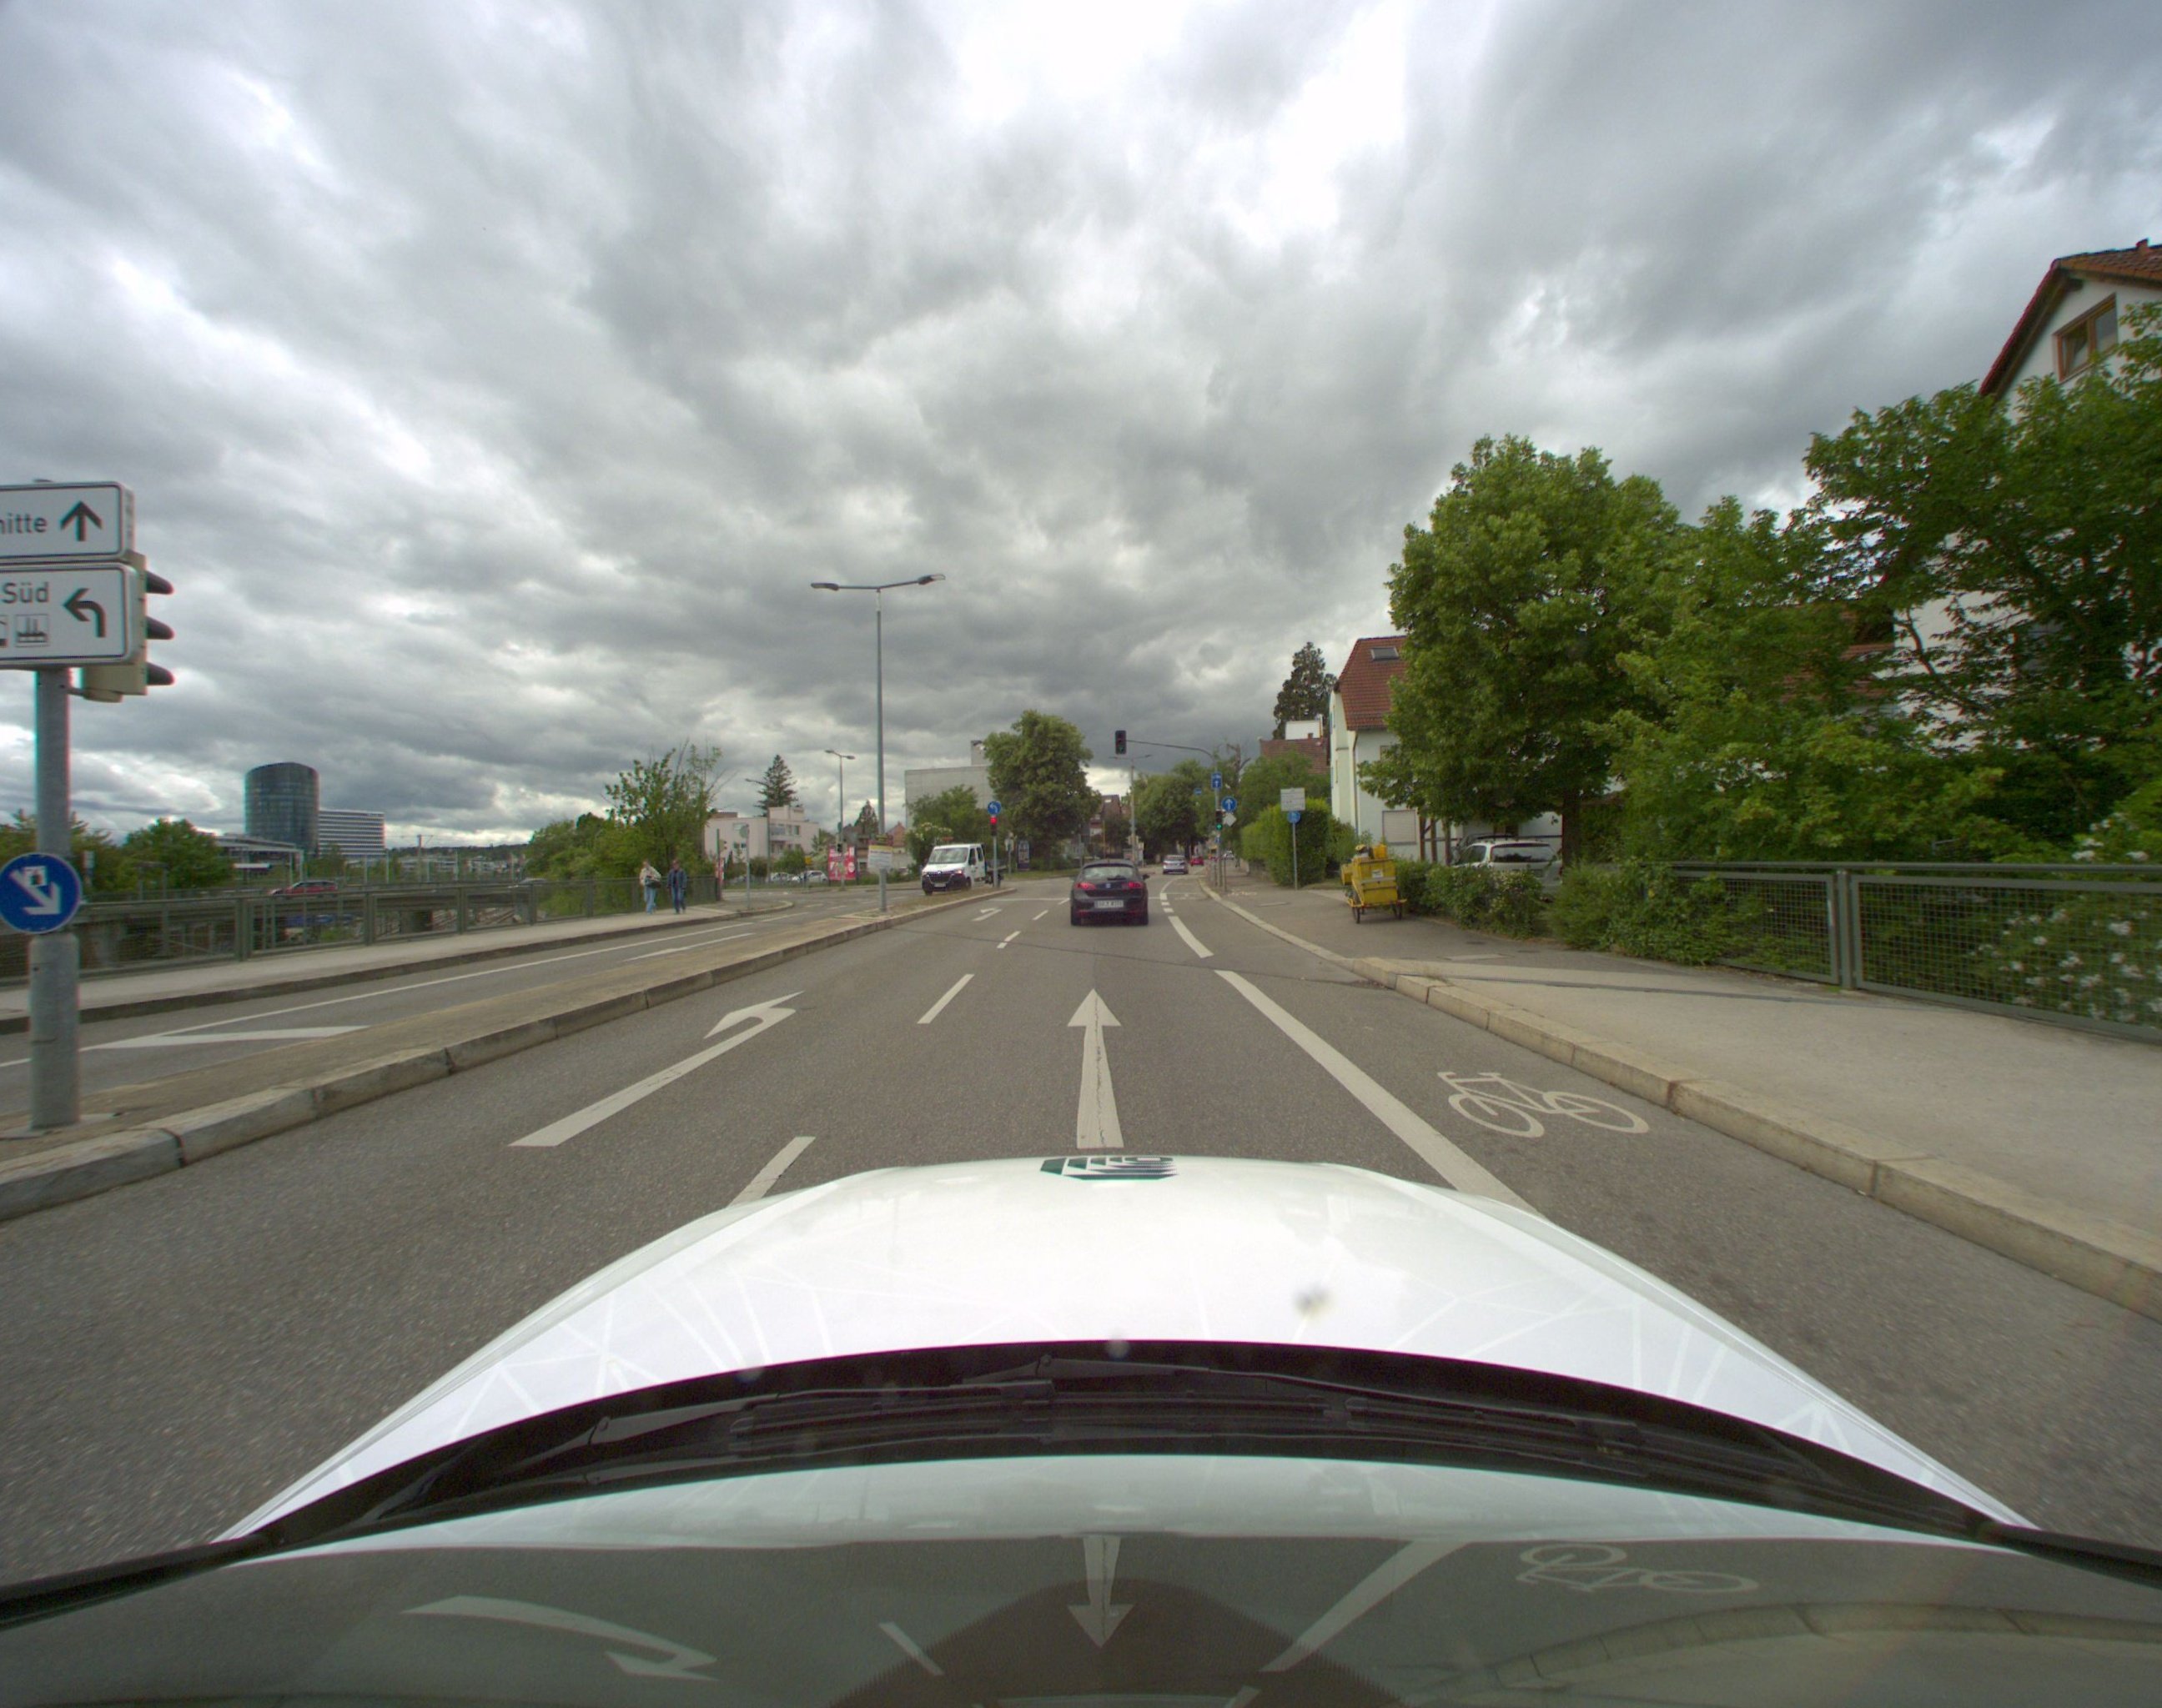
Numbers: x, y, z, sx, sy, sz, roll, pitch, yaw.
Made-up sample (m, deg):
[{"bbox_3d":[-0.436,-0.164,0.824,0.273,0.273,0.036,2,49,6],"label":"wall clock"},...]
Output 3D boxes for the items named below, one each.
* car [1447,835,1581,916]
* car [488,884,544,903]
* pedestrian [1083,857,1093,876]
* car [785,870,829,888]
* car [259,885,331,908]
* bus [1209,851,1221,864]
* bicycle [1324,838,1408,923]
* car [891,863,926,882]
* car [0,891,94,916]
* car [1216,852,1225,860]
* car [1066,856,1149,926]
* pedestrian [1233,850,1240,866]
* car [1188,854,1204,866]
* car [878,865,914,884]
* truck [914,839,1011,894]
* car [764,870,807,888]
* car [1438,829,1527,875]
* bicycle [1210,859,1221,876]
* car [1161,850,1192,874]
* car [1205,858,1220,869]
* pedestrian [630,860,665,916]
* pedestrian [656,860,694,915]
[{"bbox_3d":[9.238,0.380,17.711,1.658,1.504,4.076,-1,1,14],"label":"car"},{"bbox_3d":[-52.780,3.674,76.101,1.868,1.571,4.024,0,0,43],"label":"car"},{"bbox_3d":[0.542,0.930,62.446,0.771,1.407,0.600,1,2,-2],"label":"pedestrian"},{"bbox_3d":[-27.306,2.481,81.347,1.779,1.554,4.024,-2,-1,26],"label":"car"},{"bbox_3d":[-64.105,3.452,66.515,4.019,1.662,1.778,1,0,-38],"label":"car"},{"bbox_3d":[34.660,0.798,210.861,2.850,3.136,6.416,-2,0,11],"label":"bus"},{"bbox_3d":[5.769,0.493,16.686,0.887,1.510,2.788,-6,0,6],"label":"bicycle"},{"bbox_3d":[-19.110,2.073,90.281,1.977,2.014,4.020,1,0,20],"label":"car"},{"bbox_3d":[-74.705,3.574,58.798,4.004,1.662,1.723,2,0,-24],"label":"car"},{"bbox_3d":[30.336,0.463,177.213,1.837,1.596,4.117,-2,0,10],"label":"car"},{"bbox_3d":[0.720,0.776,19.117,1.751,1.448,3.719,0,0,4],"label":"car"},{"bbox_3d":[15.430,0.403,80.813,0.545,1.517,0.363,-5,0,20],"label":"pedestrian"},{"bbox_3d":[15.135,0.777,106.646,1.930,1.481,4.264,-2,0,9],"label":"car"},{"bbox_3d":[-20.670,2.233,91.104,1.977,2.014,4.020,1,0,20],"label":"car"},{"bbox_3d":[-5.404,0.546,38.454,2.111,2.264,6.829,-2,0,13],"label":"truck"},{"bbox_3d":[-30.650,2.603,84.478,1.779,1.718,4.024,-2,-1,26],"label":"car"},{"bbox_3d":[14.240,-0.050,29.126,1.658,1.449,4.010,-3,-1,9],"label":"car"},{"bbox_3d":[8.219,0.808,49.745,0.624,1.028,1.508,-1,0,9],"label":"bicycle"},{"bbox_3d":[7.449,0.595,63.201,1.806,1.699,4.268,-2,0,13],"label":"car"},{"bbox_3d":[22.365,1.592,138.461,1.978,1.684,4.018,-2,0,17],"label":"car"},{"bbox_3d":[-13.111,1.014,24.665,0.655,1.633,0.831,0,-1,-5],"label":"pedestrian"},{"bbox_3d":[-12.345,0.989,24.785,0.655,1.633,1.069,0,-1,-5],"label":"pedestrian"}]
